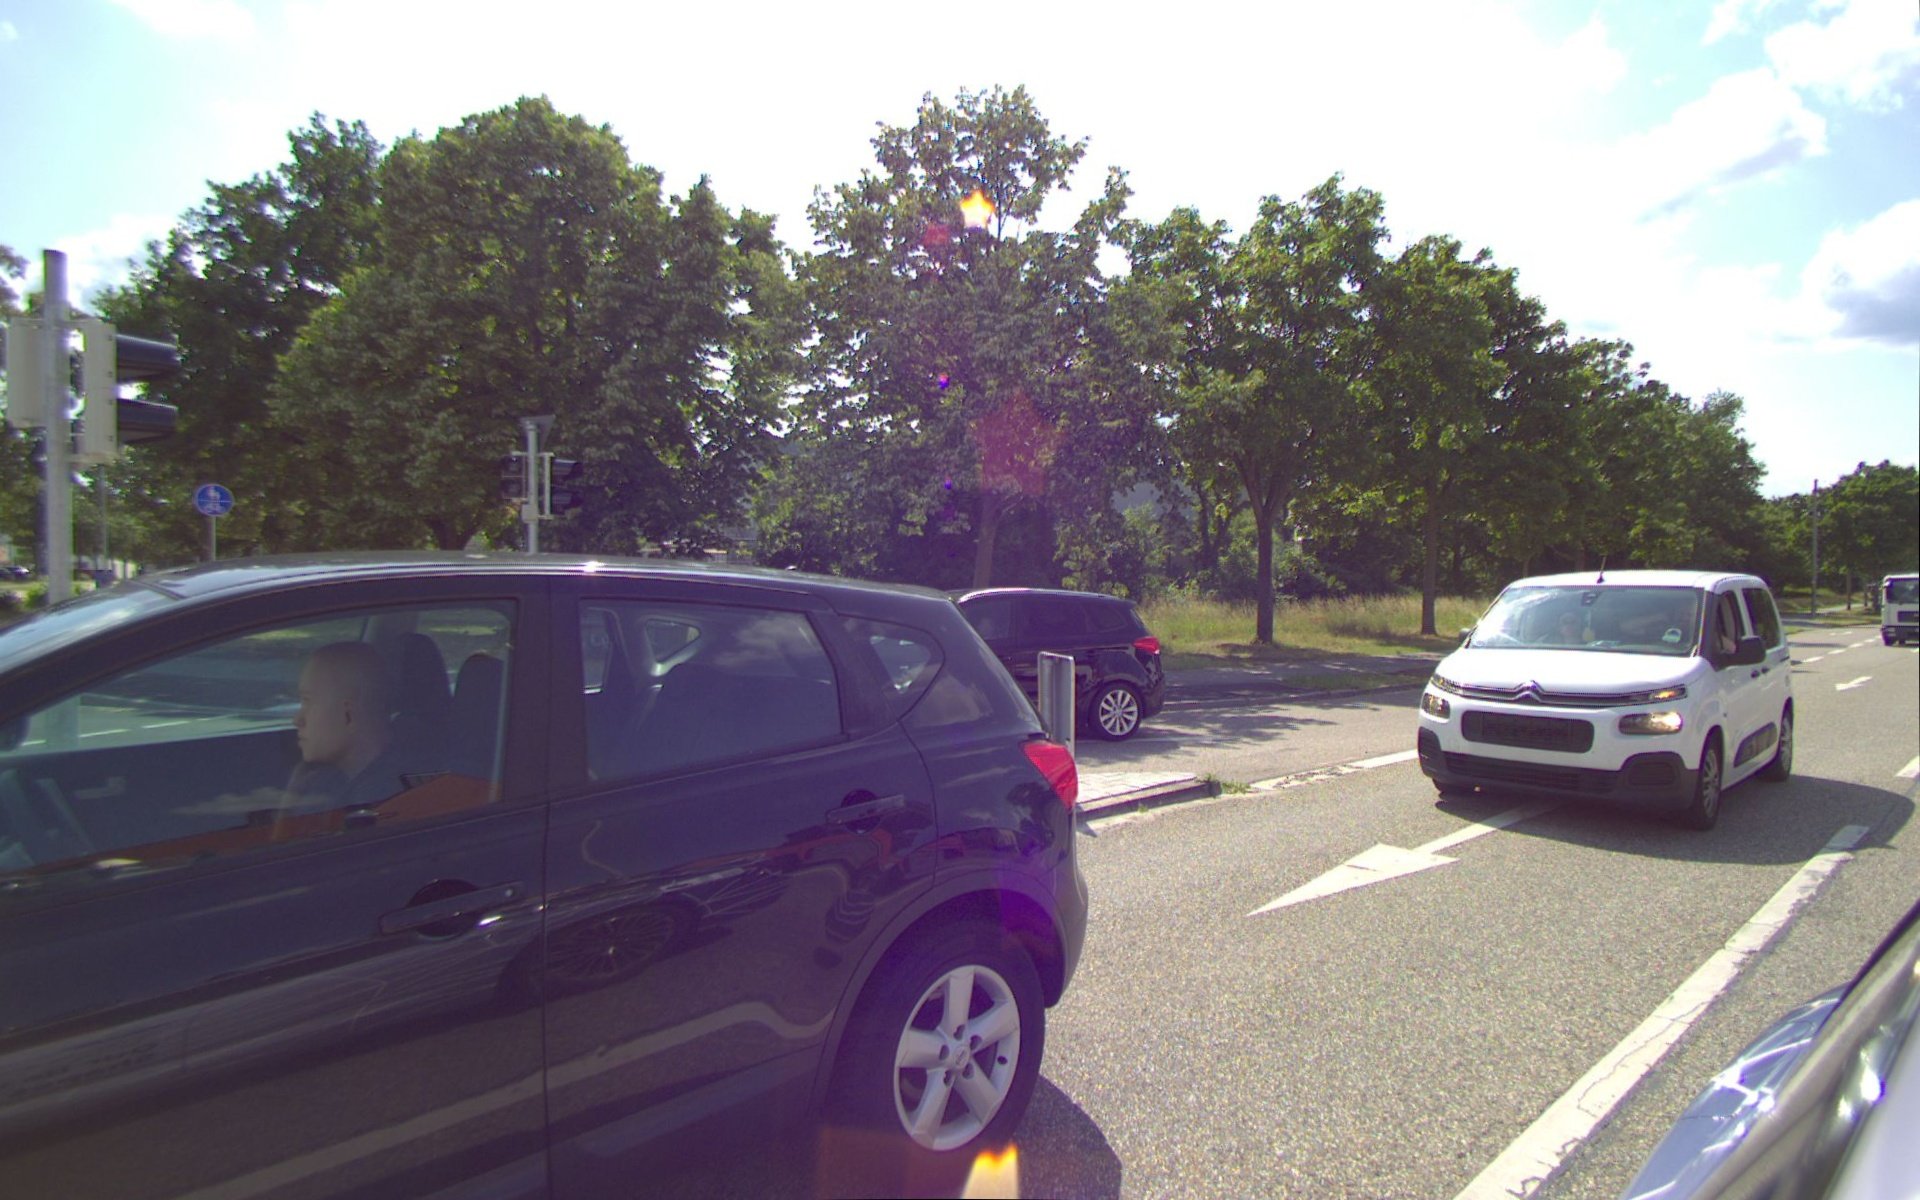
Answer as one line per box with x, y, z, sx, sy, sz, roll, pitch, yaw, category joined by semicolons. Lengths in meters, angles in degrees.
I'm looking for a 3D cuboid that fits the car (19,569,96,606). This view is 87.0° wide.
-32.346;-0.429;36.254;1.884;1.193;3.768;-1;0;-44;car

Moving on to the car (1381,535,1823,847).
5.393;0.541;8.201;4.637;1.808;1.932;0;-1;-44;car

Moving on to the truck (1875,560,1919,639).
35.795;-0.101;36.792;7.224;2.697;2.845;-2;0;-41;truck

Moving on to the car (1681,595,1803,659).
20.693;0.673;26.731;3.930;1.509;1.757;-2;0;-41;car

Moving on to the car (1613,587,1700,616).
42.348;0.079;61.584;4.161;1.511;1.757;5;2;41;car

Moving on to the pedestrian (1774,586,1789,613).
56.390;-0.018;69.470;0.728;1.816;0.717;-1;-1;-45;pedestrian

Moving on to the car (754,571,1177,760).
0.026;0.596;10.858;4.149;1.670;1.775;-2;0;-19;car

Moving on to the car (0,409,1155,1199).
-1.510;0.551;2.220;3.933;1.571;1.801;-2;0;-43;car
